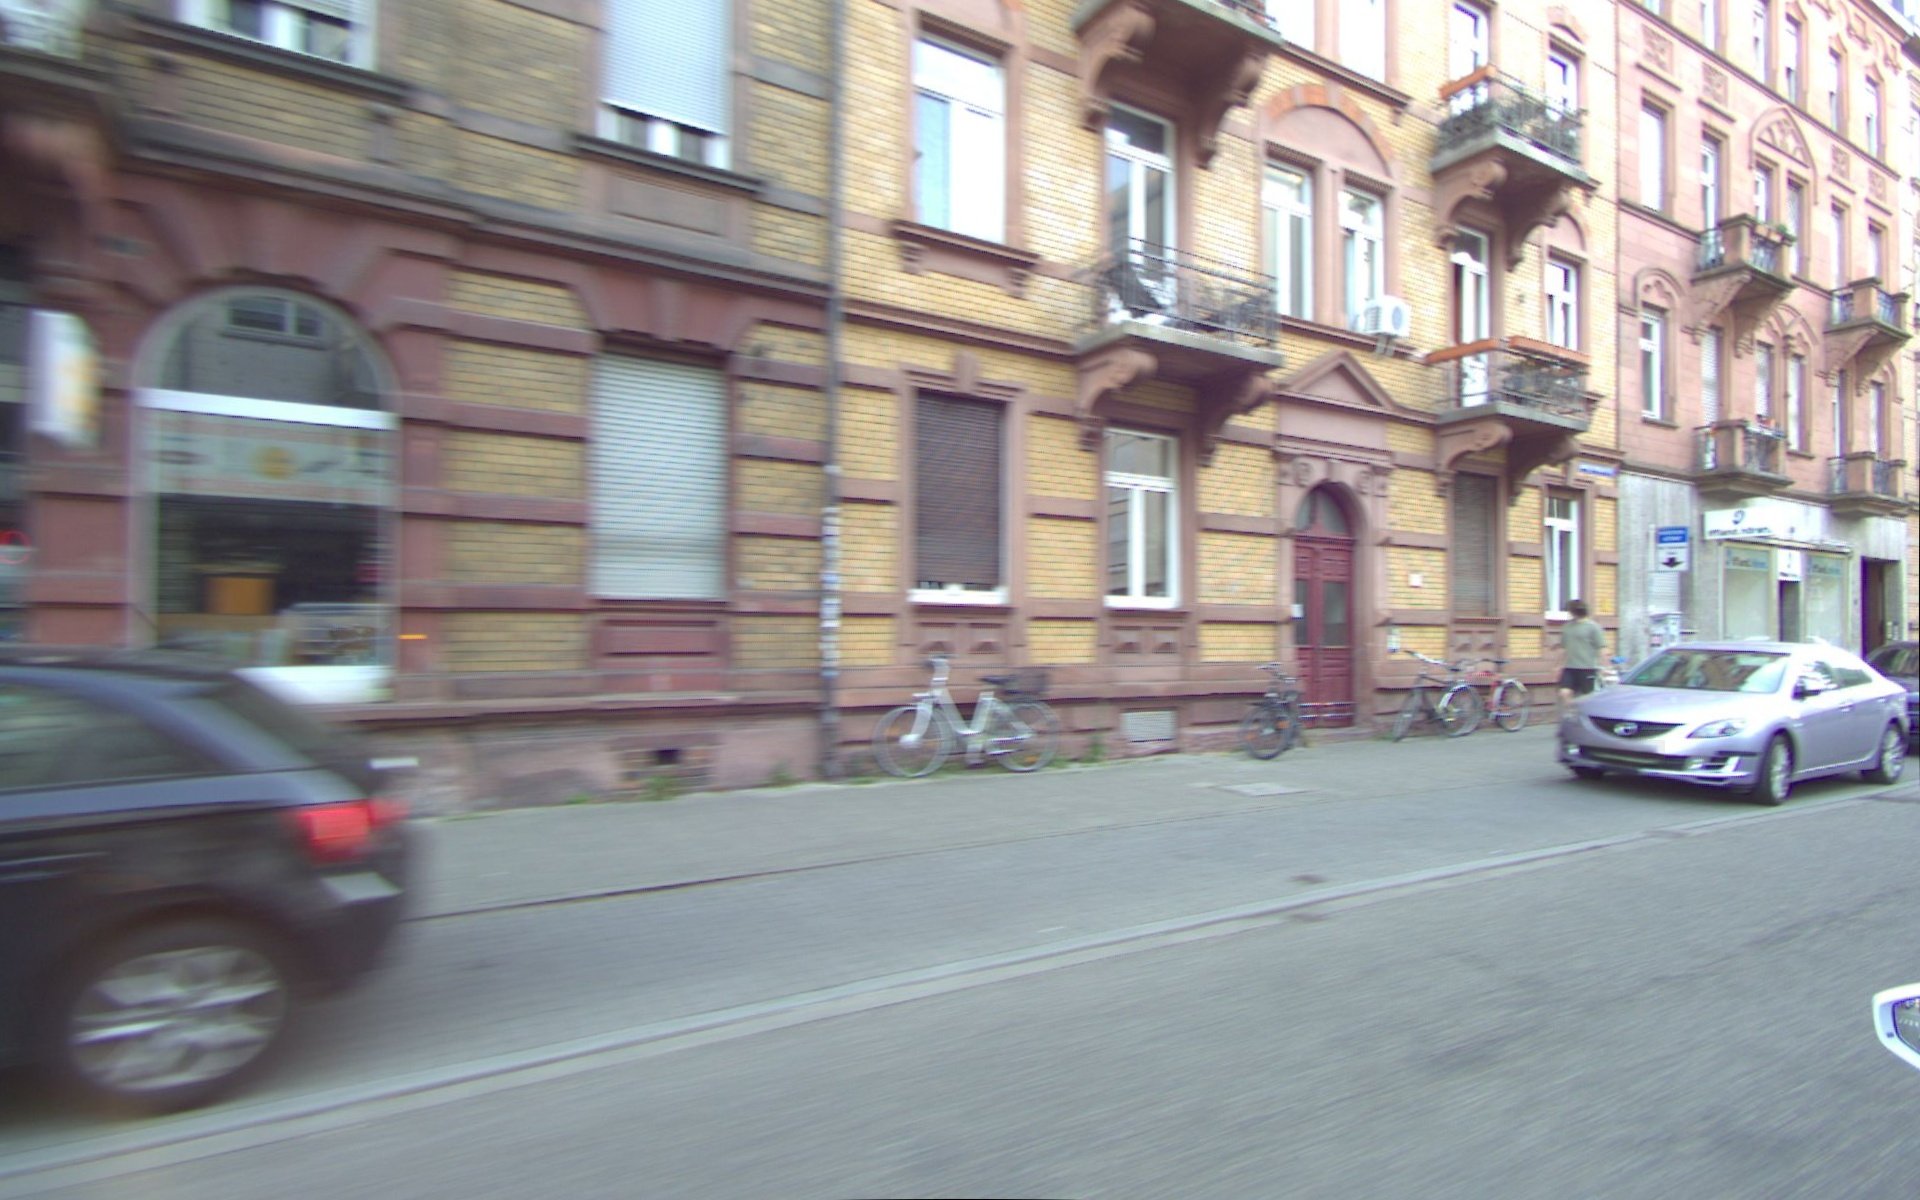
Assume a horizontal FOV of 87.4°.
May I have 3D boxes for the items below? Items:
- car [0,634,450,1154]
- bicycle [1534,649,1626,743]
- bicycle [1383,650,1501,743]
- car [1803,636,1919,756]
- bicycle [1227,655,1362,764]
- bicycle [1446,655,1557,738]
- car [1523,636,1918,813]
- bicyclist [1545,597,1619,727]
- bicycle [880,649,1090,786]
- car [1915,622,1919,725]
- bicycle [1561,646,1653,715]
[{"bbox_3d":[-3.789,0.850,3.229,3.806,1.439,1.687,1,-1,-28],"label":"car"},{"bbox_3d":[8.701,1.316,14.072,1.730,1.212,0.701,3,-2,-44],"label":"bicycle"},{"bbox_3d":[6.525,1.272,13.574,1.739,1.138,0.546,1,1,-31],"label":"bicycle"},{"bbox_3d":[13.229,1.234,13.667,3.653,1.439,1.577,1,-1,-30],"label":"car"},{"bbox_3d":[3.946,1.243,11.809,1.596,1.138,0.732,1,0,-38],"label":"bicycle"},{"bbox_3d":[7.713,1.346,14.289,1.739,1.051,0.546,1,1,-31],"label":"bicycle"},{"bbox_3d":[7.923,1.123,10.343,4.530,1.439,1.714,2,-1,-31],"label":"car"},{"bbox_3d":[8.733,0.860,14.102,0.837,1.752,0.701,3,-2,-44],"label":"bicyclist"},{"bbox_3d":[0.269,1.088,9.706,2.022,1.187,0.525,1,0,-28],"label":"bicycle"},{"bbox_3d":[17.683,1.199,16.493,4.395,1.655,1.843,1,-1,-31],"label":"car"},{"bbox_3d":[10.437,1.278,16.194,1.826,1.036,0.447,1,2,-31],"label":"bicycle"}]
